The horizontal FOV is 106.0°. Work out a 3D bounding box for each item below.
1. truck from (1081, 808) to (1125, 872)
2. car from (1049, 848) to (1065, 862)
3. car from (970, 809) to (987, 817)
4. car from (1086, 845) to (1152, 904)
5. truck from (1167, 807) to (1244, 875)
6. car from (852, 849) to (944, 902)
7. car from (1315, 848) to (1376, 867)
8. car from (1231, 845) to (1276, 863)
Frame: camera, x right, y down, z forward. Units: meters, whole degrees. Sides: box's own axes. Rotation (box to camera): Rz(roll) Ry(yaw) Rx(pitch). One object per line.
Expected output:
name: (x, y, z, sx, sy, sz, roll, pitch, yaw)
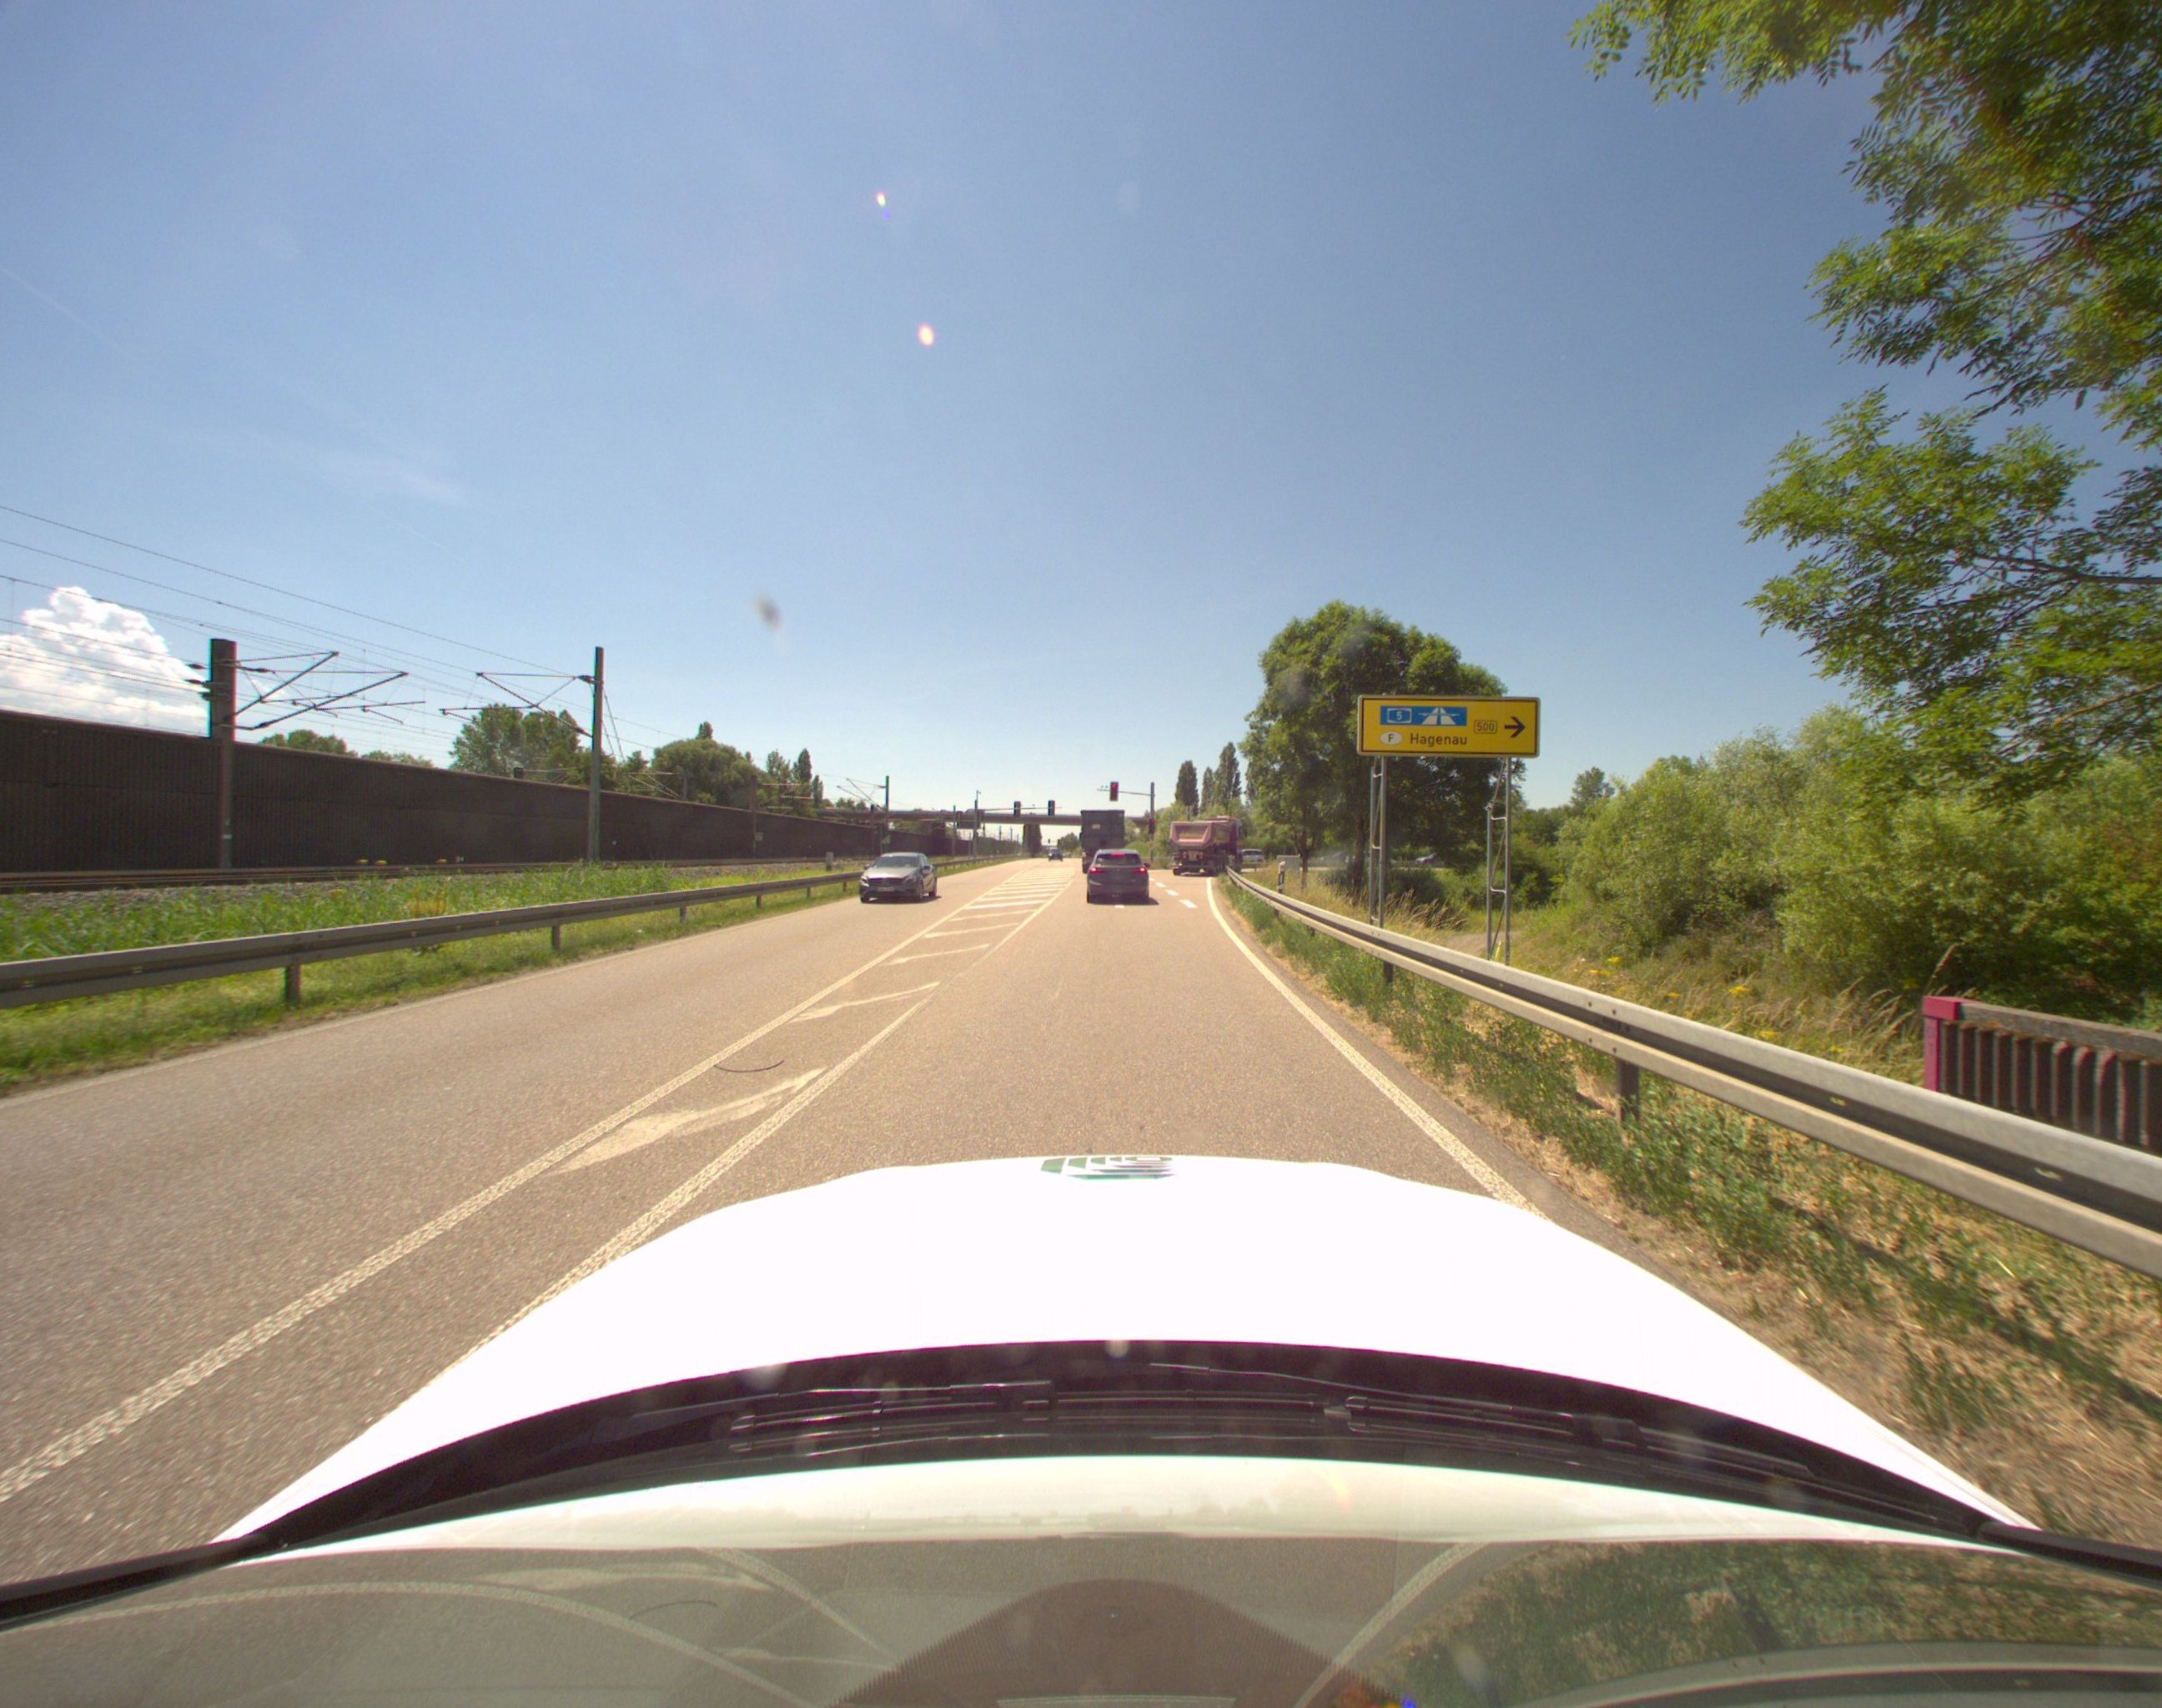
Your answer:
truck: (1.342, -0.893, 52.325, 2.581, 3.737, 9.575, 0, 1, 0)
car: (-3.326, 0.132, 112.088, 1.921, 1.767, 4.598, 1, 1, 1)
car: (-25.994, -10.389, 205.974, 3.975, 2.013, 1.999, 0, 0, -1)
car: (1.167, 0.562, 24.842, 1.837, 1.623, 4.229, 0, 0, 3)
truck: (8.094, -0.738, 51.456, 2.810, 3.821, 11.941, 0, 0, 18)
car: (-5.599, 0.600, 25.520, 1.859, 1.485, 4.885, 0, 0, -1)
car: (23.678, 0.324, 73.006, 4.907, 1.631, 1.934, 0, 0, 1)
car: (15.656, 0.009, 73.950, 3.695, 1.631, 1.734, 0, 0, -1)
